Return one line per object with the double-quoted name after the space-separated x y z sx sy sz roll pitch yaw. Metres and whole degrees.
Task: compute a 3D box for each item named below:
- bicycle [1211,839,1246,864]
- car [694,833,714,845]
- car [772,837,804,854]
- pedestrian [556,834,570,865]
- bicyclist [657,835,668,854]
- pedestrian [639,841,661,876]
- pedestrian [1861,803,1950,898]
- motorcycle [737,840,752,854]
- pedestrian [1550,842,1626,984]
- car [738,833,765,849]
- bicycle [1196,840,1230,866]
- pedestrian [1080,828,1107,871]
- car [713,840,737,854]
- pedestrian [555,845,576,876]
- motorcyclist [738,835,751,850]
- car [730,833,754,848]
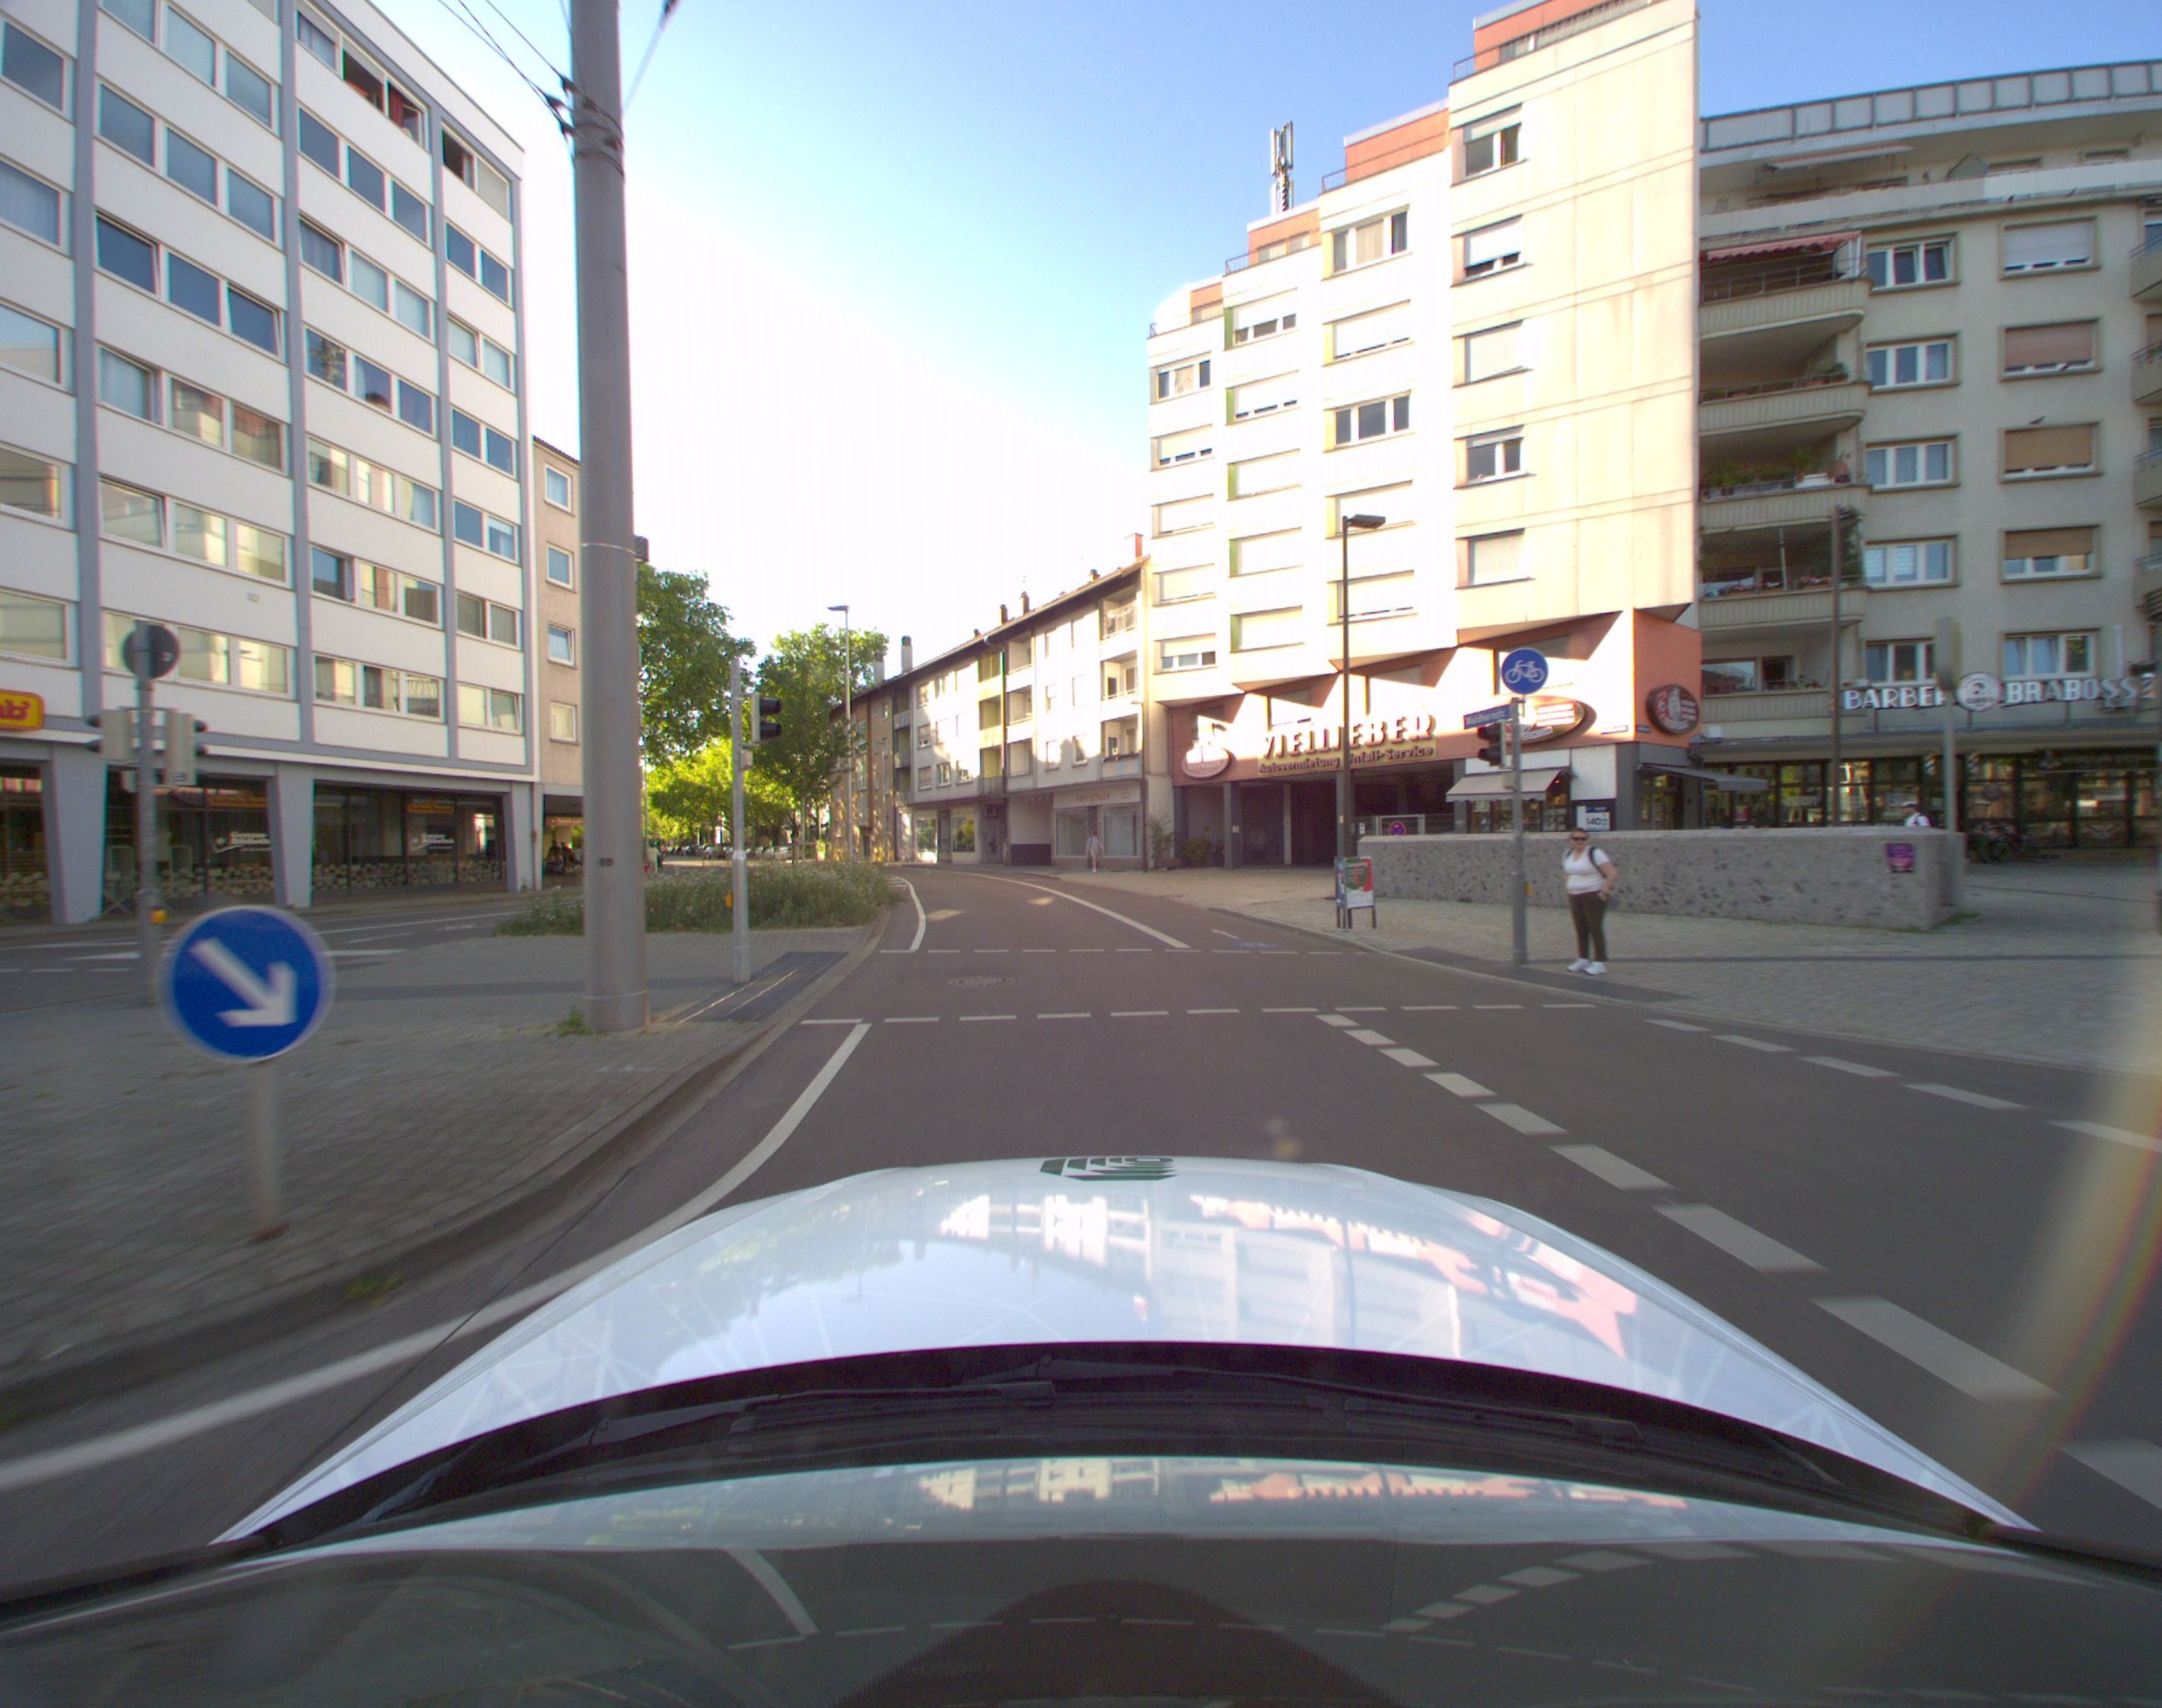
6.472 -0.136 35.812 0.498 1.038 1.621 -2 3 -34 "bicycle"
-56.582 -2.258 122.241 2.048 1.742 4.051 -2 2 -34 "car"
-29.878 -0.872 82.961 2.048 1.504 4.051 -2 3 -34 "car"
-31.087 -0.272 48.891 0.618 1.795 0.648 -1 3 -38 "pedestrian"
-43.219 -1.003 84.029 0.822 1.947 0.848 -3 3 -38 "bicyclist"
-21.533 0.204 40.669 0.811 1.723 0.767 -2 3 -38 "pedestrian"
16.696 -0.079 16.515 1.034 1.866 0.690 0 2 13 "pedestrian"
-30.881 -0.665 74.653 0.979 1.131 2.780 0 3 -28 "motorcycle"
5.957 0.663 9.568 0.543 1.583 0.551 -2 3 -32 "pedestrian"
-39.335 -1.626 97.151 2.048 1.758 4.051 -2 3 -34 "car"
5.720 -0.055 35.441 0.498 1.038 1.622 -2 4 -34 "bicycle"
0.550 -0.205 35.872 0.737 1.854 0.938 -5 4 -35 "pedestrian"
-39.582 -0.847 90.405 1.936 1.388 3.961 -2 3 -31 "car"
-29.638 0.372 46.796 0.835 1.723 0.849 -1 2 -21 "pedestrian"
-30.812 -1.060 74.521 0.976 1.346 1.127 0 3 -29 "motorcyclist"
-42.581 -1.762 102.289 2.048 1.719 4.051 -2 3 -34 "car"
